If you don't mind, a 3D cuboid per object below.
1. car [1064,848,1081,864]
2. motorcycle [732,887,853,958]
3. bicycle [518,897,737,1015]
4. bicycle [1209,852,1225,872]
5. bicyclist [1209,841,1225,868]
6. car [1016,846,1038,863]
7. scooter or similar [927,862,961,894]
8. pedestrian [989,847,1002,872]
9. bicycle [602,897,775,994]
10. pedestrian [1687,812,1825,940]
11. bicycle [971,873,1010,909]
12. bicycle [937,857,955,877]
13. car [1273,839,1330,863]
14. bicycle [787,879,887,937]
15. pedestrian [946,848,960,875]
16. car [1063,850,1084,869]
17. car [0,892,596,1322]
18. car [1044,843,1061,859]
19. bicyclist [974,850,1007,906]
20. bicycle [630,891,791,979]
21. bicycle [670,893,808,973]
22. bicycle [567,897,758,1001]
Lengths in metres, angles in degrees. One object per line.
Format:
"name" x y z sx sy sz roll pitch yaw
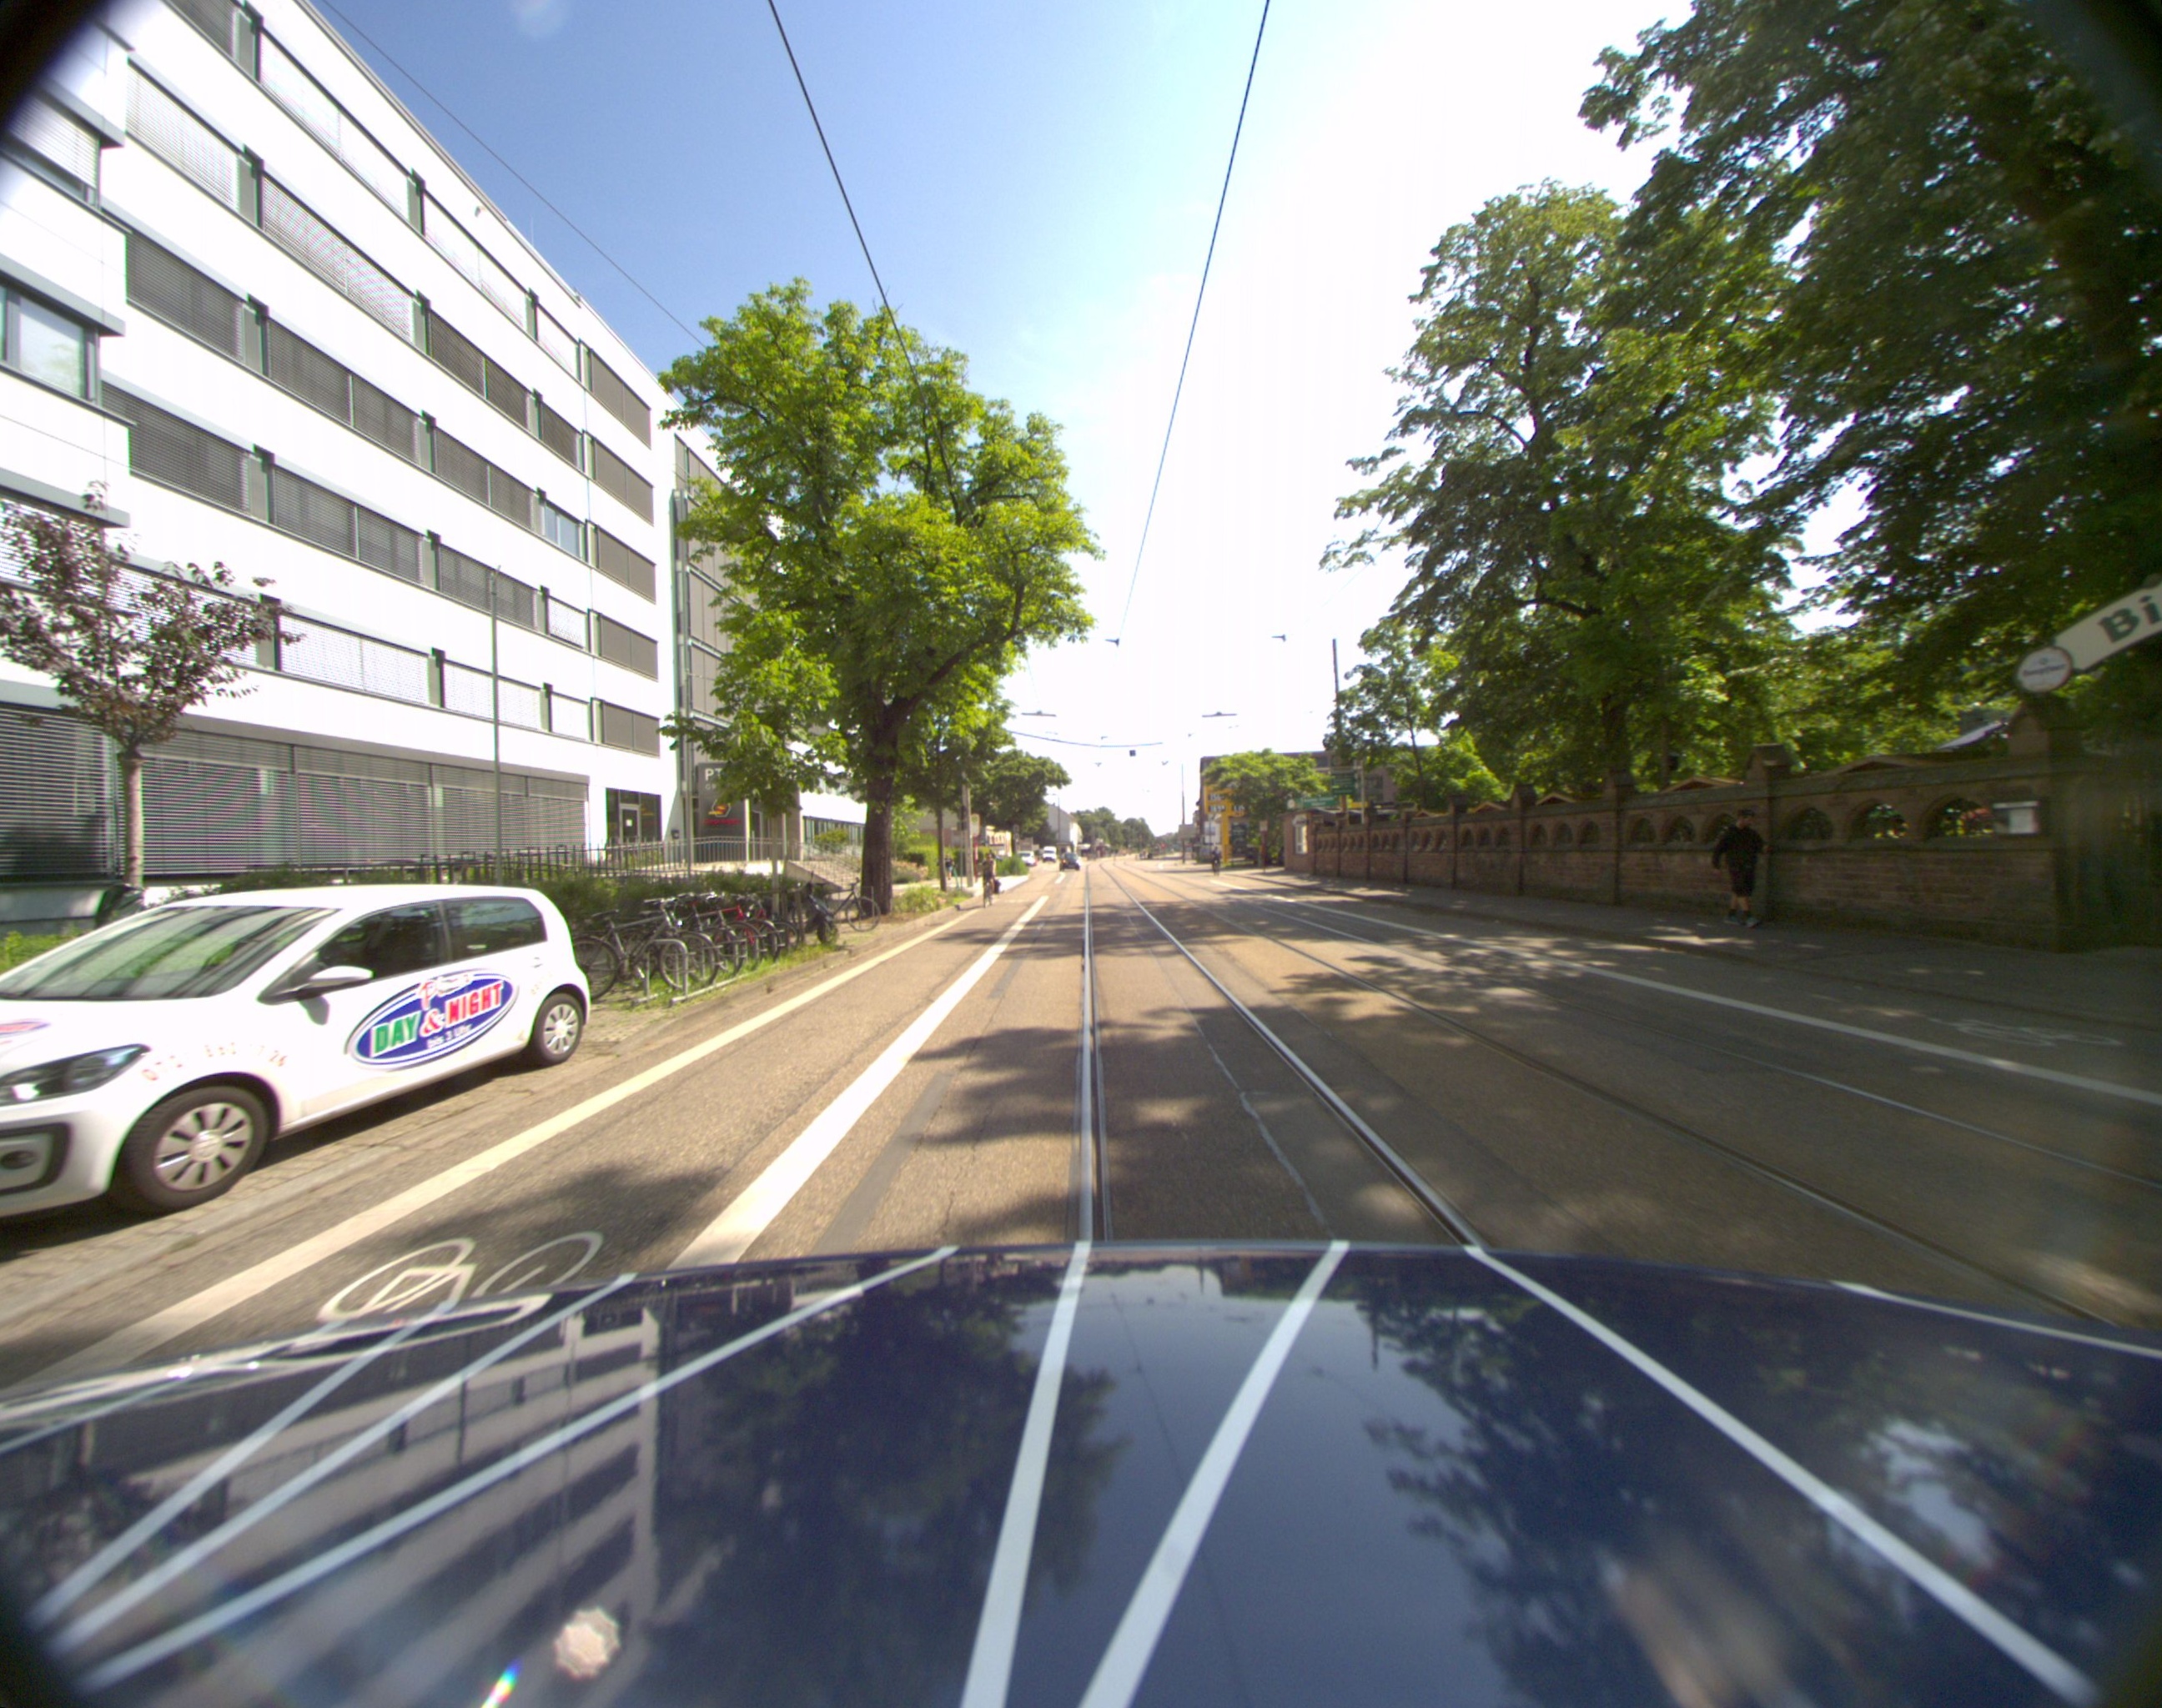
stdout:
"car" -1.013 0.212 95.966 1.998 2.002 4.000 -1 1 1
"motorcycle" -4.760 1.122 12.615 1.728 1.080 0.658 -1 1 0
"bicycle" -4.996 1.103 8.474 1.909 1.163 0.819 -1 1 0
"bicycle" 7.860 0.454 44.040 0.593 1.099 2.054 -1 1 1
"bicyclist" 7.855 0.045 43.990 0.742 1.522 0.947 -1 1 1
"car" -6.707 0.078 94.715 2.089 2.002 4.908 -1 0 2
"scooter or similar" -5.142 0.880 28.580 1.128 1.160 0.676 -1 1 3
"pedestrian" -6.343 0.397 56.508 0.892 1.807 1.073 -2 1 -6
"bicycle" -5.022 1.161 9.800 1.853 1.125 0.680 -1 1 0
"pedestrian" 10.386 0.315 11.753 0.979 1.805 1.185 -5 1 1
"bicycle" -2.806 1.135 23.712 0.609 0.978 2.165 -2 0 9
"bicycle" -7.767 0.746 43.813 0.637 1.111 2.066 -2 1 0
"car" 16.217 -0.243 55.774 2.014 1.631 4.669 -1 1 44
"bicycle" -4.882 1.077 15.293 1.728 1.080 0.789 -1 1 0
"pedestrian" -7.375 0.417 43.818 0.688 1.554 0.988 0 1 -4
"car" -0.663 0.466 63.640 1.479 1.530 2.975 -1 1 -5
"car" -5.002 1.093 4.629 1.634 1.463 3.630 -1 1 2
"car" -4.583 -0.566 124.577 2.335 2.521 6.507 1 0 2
"bicyclist" -2.823 0.740 23.791 0.717 1.714 0.988 -1 1 8
"bicycle" -4.994 1.085 10.328 1.797 1.080 0.726 -1 1 0
"bicycle" -5.019 1.149 11.215 1.728 1.080 0.639 -1 1 0
"bicycle" -4.985 1.118 9.121 1.877 1.135 0.686 -1 1 0
